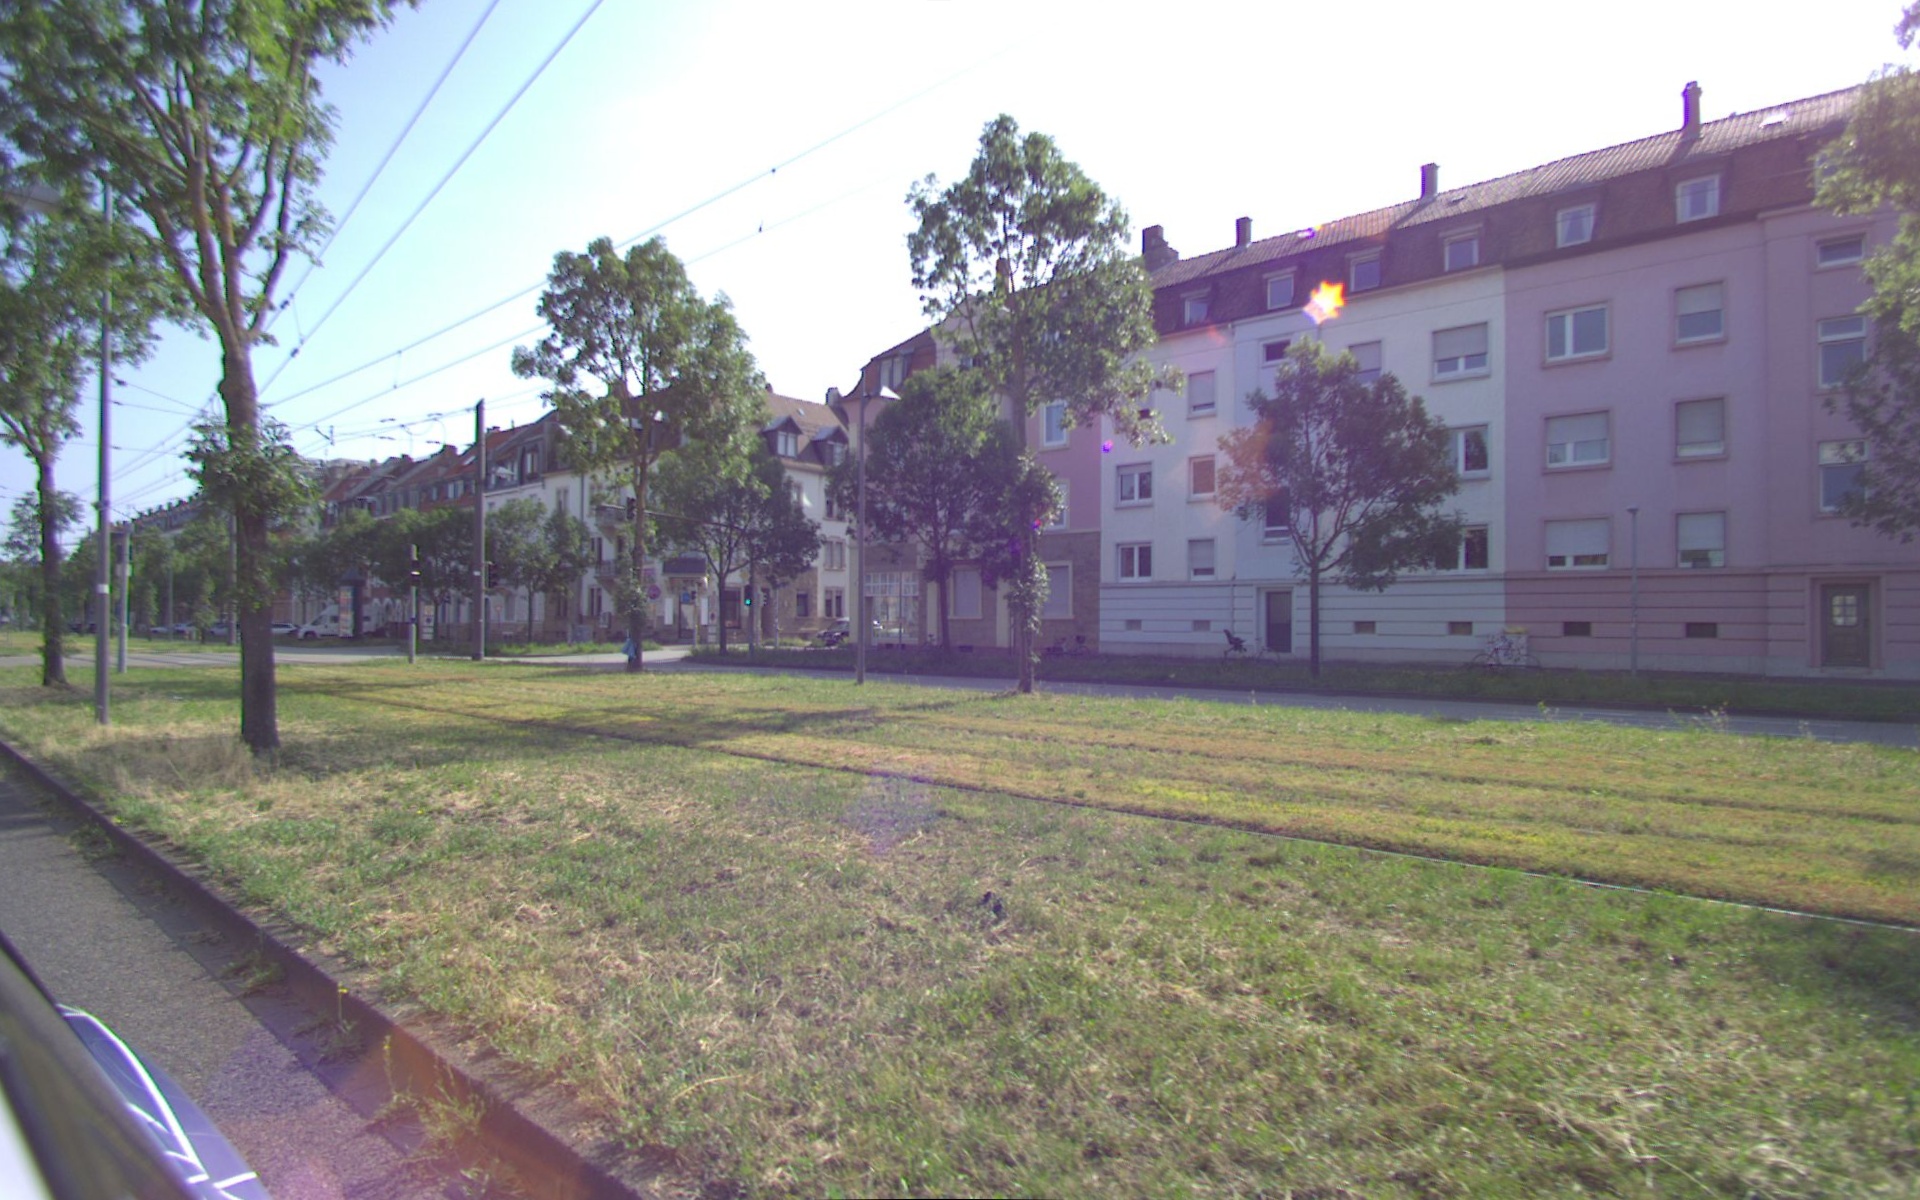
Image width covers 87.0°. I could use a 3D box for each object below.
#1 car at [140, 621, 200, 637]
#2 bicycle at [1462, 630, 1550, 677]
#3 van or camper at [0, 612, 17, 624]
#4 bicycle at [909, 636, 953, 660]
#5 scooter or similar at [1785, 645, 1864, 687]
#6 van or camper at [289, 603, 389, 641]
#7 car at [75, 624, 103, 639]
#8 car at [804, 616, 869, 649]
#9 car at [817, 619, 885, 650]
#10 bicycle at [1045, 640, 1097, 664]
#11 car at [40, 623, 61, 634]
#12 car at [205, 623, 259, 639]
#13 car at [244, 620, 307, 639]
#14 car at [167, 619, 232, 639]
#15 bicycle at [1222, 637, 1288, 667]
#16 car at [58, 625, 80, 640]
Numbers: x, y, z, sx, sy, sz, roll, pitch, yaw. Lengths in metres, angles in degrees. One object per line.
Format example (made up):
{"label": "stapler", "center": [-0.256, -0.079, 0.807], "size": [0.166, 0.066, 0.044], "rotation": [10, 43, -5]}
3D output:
{"label": "car", "center": [-85.323, 3.122, 109.377], "size": [4.696, 1.496, 2.029], "rotation": [-1, 1, -16]}
{"label": "bicycle", "center": [14.321, 1.382, 26.574], "size": [1.946, 1.136, 0.598], "rotation": [0, 1, 40]}
{"label": "van or camper", "center": [-179.429, 3.318, 190.791], "size": [5.350, 2.112, 1.931], "rotation": [0, 1, 41]}
{"label": "bicycle", "center": [-1.183, 1.898, 40.525], "size": [1.946, 0.895, 0.463], "rotation": [0, 1, 40]}
{"label": "scooter or similar", "center": [18.922, 1.438, 22.159], "size": [0.596, 0.819, 1.223], "rotation": [-2, 1, -38]}
{"label": "van or camper", "center": [-45.852, 1.583, 74.847], "size": [5.827, 2.593, 2.205], "rotation": [-1, 1, -14]}
{"label": "car", "center": [-95.139, 3.433, 110.513], "size": [3.924, 1.444, 1.793], "rotation": [0, 1, 41]}
{"label": "car", "center": [-7.854, 2.056, 64.674], "size": [1.832, 1.863, 3.948], "rotation": [-1, 1, 39]}
{"label": "car", "center": [-6.663, 2.091, 62.118], "size": [1.832, 1.633, 3.948], "rotation": [-1, 1, 39]}
{"label": "bicycle", "center": [3.933, 1.835, 36.010], "size": [1.946, 0.795, 0.433], "rotation": [0, 1, 40]}
{"label": "car", "center": [-132.770, 4.168, 147.660], "size": [4.649, 1.470, 1.926], "rotation": [0, 1, 44]}
{"label": "car", "center": [-66.084, 2.809, 91.898], "size": [3.625, 1.251, 1.667], "rotation": [-1, 1, -14]}
{"label": "car", "center": [-56.311, 2.418, 83.295], "size": [3.947, 1.326, 1.667], "rotation": [-1, 1, -14]}
{"label": "car", "center": [-75.854, 2.872, 100.994], "size": [4.869, 1.739, 1.862], "rotation": [-1, 1, -14]}
{"label": "bicycle", "center": [9.103, 1.601, 31.283], "size": [1.946, 0.863, 0.443], "rotation": [0, 1, 40]}
{"label": "car", "center": [-106.446, 3.833, 120.931], "size": [1.744, 1.668, 4.003], "rotation": [-2, 1, -45]}
